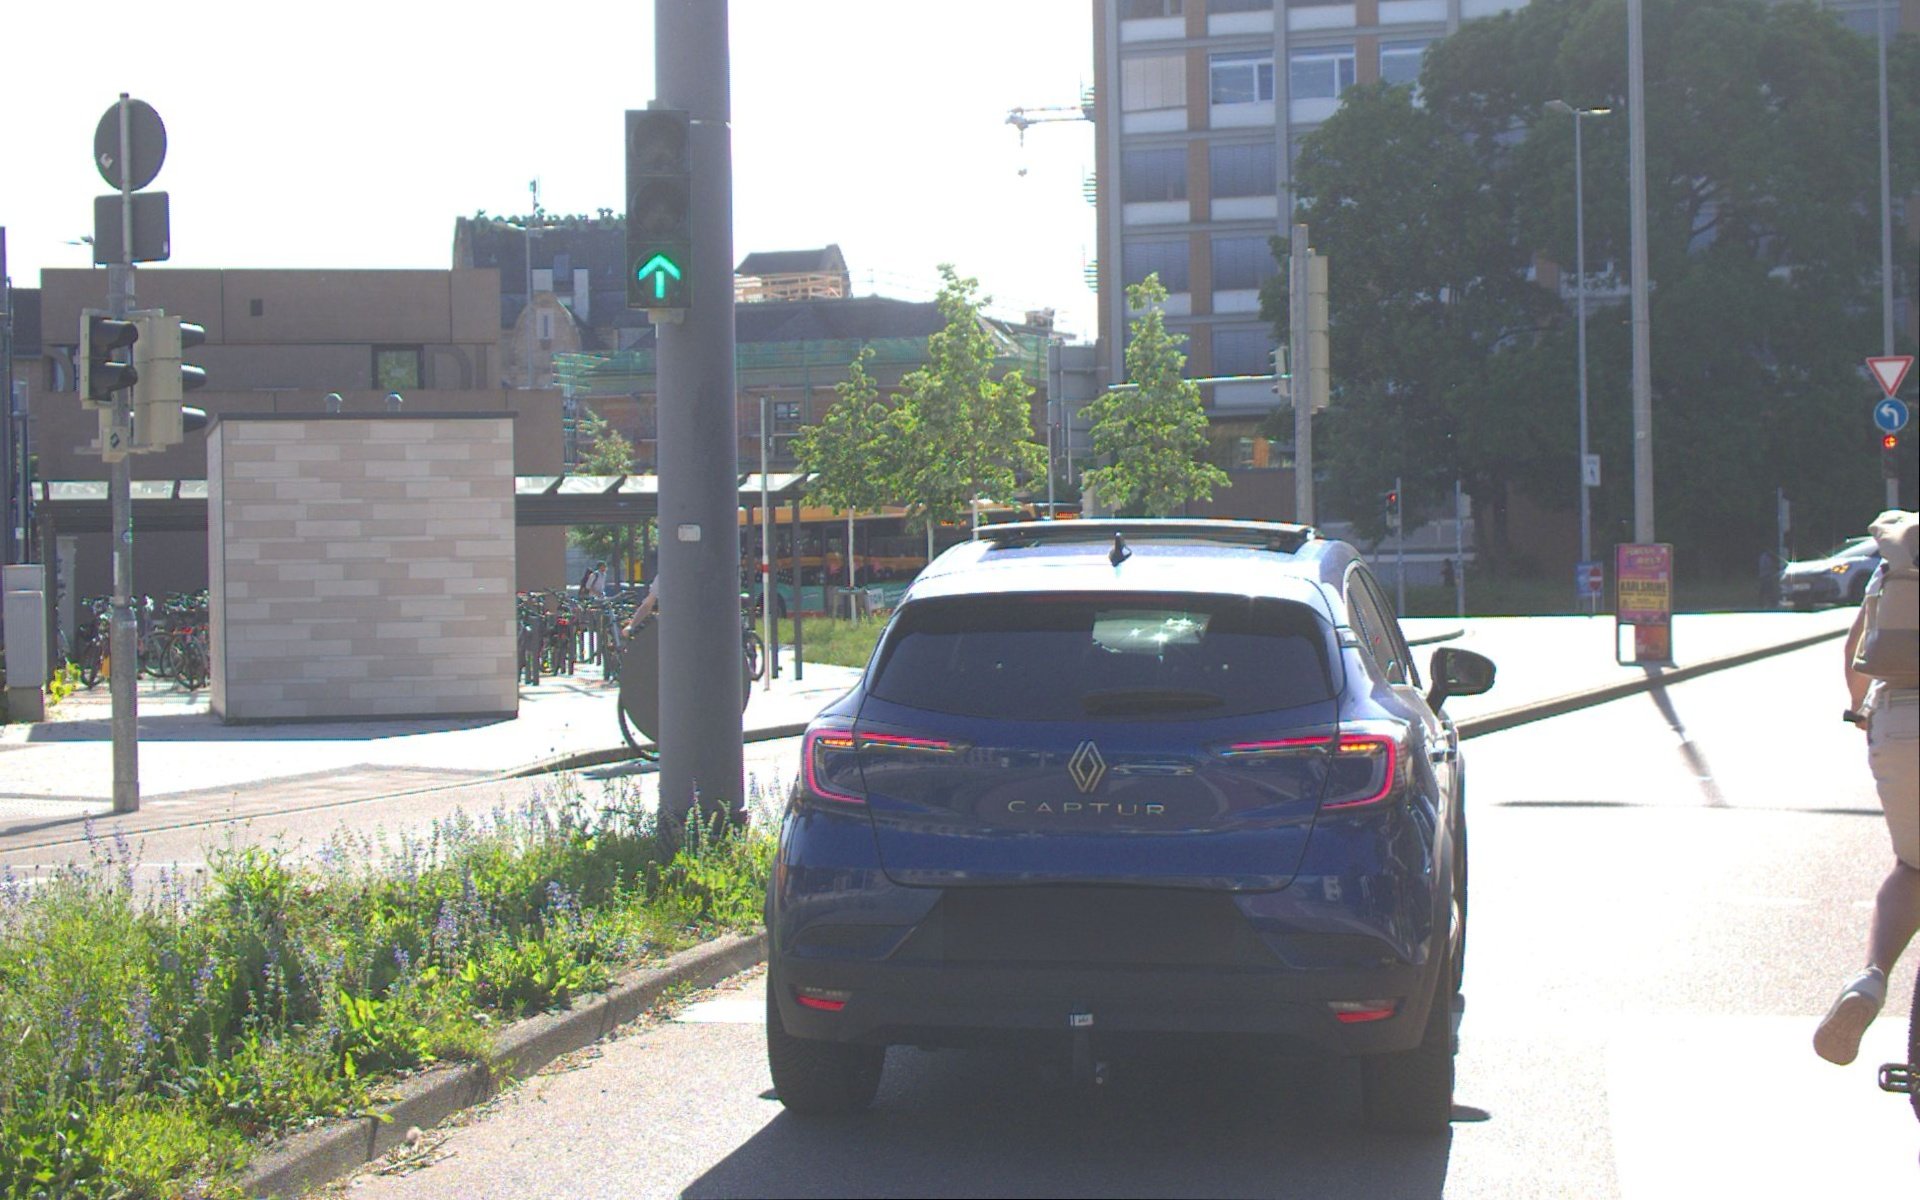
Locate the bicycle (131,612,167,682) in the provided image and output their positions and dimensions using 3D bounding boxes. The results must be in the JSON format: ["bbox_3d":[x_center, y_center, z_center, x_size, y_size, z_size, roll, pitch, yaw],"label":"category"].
[{"bbox_3d":[-11.151,0.642,47.240,0.421,0.934,1.306,1,0,-16],"label":"bicycle"}]

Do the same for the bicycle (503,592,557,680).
[{"bbox_3d":[-5.303,0.445,42.305,0.580,1.054,1.817,0,-1,-9],"label":"bicycle"}]

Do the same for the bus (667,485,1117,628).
[{"bbox_3d":[-1.898,-1.000,86.459,12.433,3.384,2.876,0,-1,40],"label":"bus"}]

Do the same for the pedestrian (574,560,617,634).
[{"bbox_3d":[-8.581,-0.072,80.965,0.626,1.735,0.786,0,-1,37],"label":"pedestrian"}]

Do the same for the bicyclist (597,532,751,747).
[{"bbox_3d":[-2.242,0.305,27.035,0.880,1.639,1.060,-1,0,14],"label":"bicyclist"}]

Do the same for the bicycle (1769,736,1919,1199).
[{"bbox_3d":[2.385,0.905,8.178,0.663,1.043,1.890,0,1,6],"label":"bicycle"}]

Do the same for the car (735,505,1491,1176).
[{"bbox_3d":[0.579,0.554,10.172,1.824,1.594,3.658,1,1,7],"label":"car"}]

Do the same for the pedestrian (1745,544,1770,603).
[{"bbox_3d":[22.658,-0.755,97.640,0.561,1.664,0.475,0,-1,36],"label":"pedestrian"}]

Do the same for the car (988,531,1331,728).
[{"bbox_3d":[1.776,0.203,29.196,1.802,1.388,4.089,-1,3,20],"label":"car"}]

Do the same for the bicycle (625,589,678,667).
[{"bbox_3d":[-4.354,0.397,48.418,0.580,1.084,2.059,0,-1,-9],"label":"bicycle"}]

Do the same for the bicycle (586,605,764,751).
[{"bbox_3d":[-2.216,0.593,27.049,0.773,1.077,2.034,-1,0,14],"label":"bicycle"}]

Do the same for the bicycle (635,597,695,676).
[{"bbox_3d":[-3.677,0.456,42.778,0.580,0.958,2.059,0,-1,-9],"label":"bicycle"}]

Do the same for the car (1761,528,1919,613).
[{"bbox_3d":[18.574,-0.630,70.058,4.236,1.563,1.824,-3,0,-30],"label":"car"}]

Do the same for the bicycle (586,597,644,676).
[{"bbox_3d":[-4.289,0.453,42.687,0.580,0.958,2.059,0,-1,-9],"label":"bicycle"}]

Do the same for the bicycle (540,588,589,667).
[{"bbox_3d":[-5.563,0.392,48.339,0.580,1.084,2.059,0,-1,-9],"label":"bicycle"}]

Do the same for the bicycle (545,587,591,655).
[{"bbox_3d":[-6.372,0.343,55.808,0.580,1.084,1.872,0,-1,-12],"label":"bicycle"}]

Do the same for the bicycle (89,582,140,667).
[{"bbox_3d":[-11.189,0.328,45.519,0.565,1.090,2.030,0,-1,-11],"label":"bicycle"}]

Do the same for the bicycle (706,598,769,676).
[{"bbox_3d":[-2.794,0.462,43.025,0.580,0.958,2.059,0,-1,-9],"label":"bicycle"}]

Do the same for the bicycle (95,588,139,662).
[{"bbox_3d":[-12.700,0.385,51.819,0.565,1.090,2.030,0,-1,-11],"label":"bicycle"}]

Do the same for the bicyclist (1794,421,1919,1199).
[{"bbox_3d":[2.374,0.467,8.096,0.664,1.741,1.005,0,0,6],"label":"bicyclist"}]
